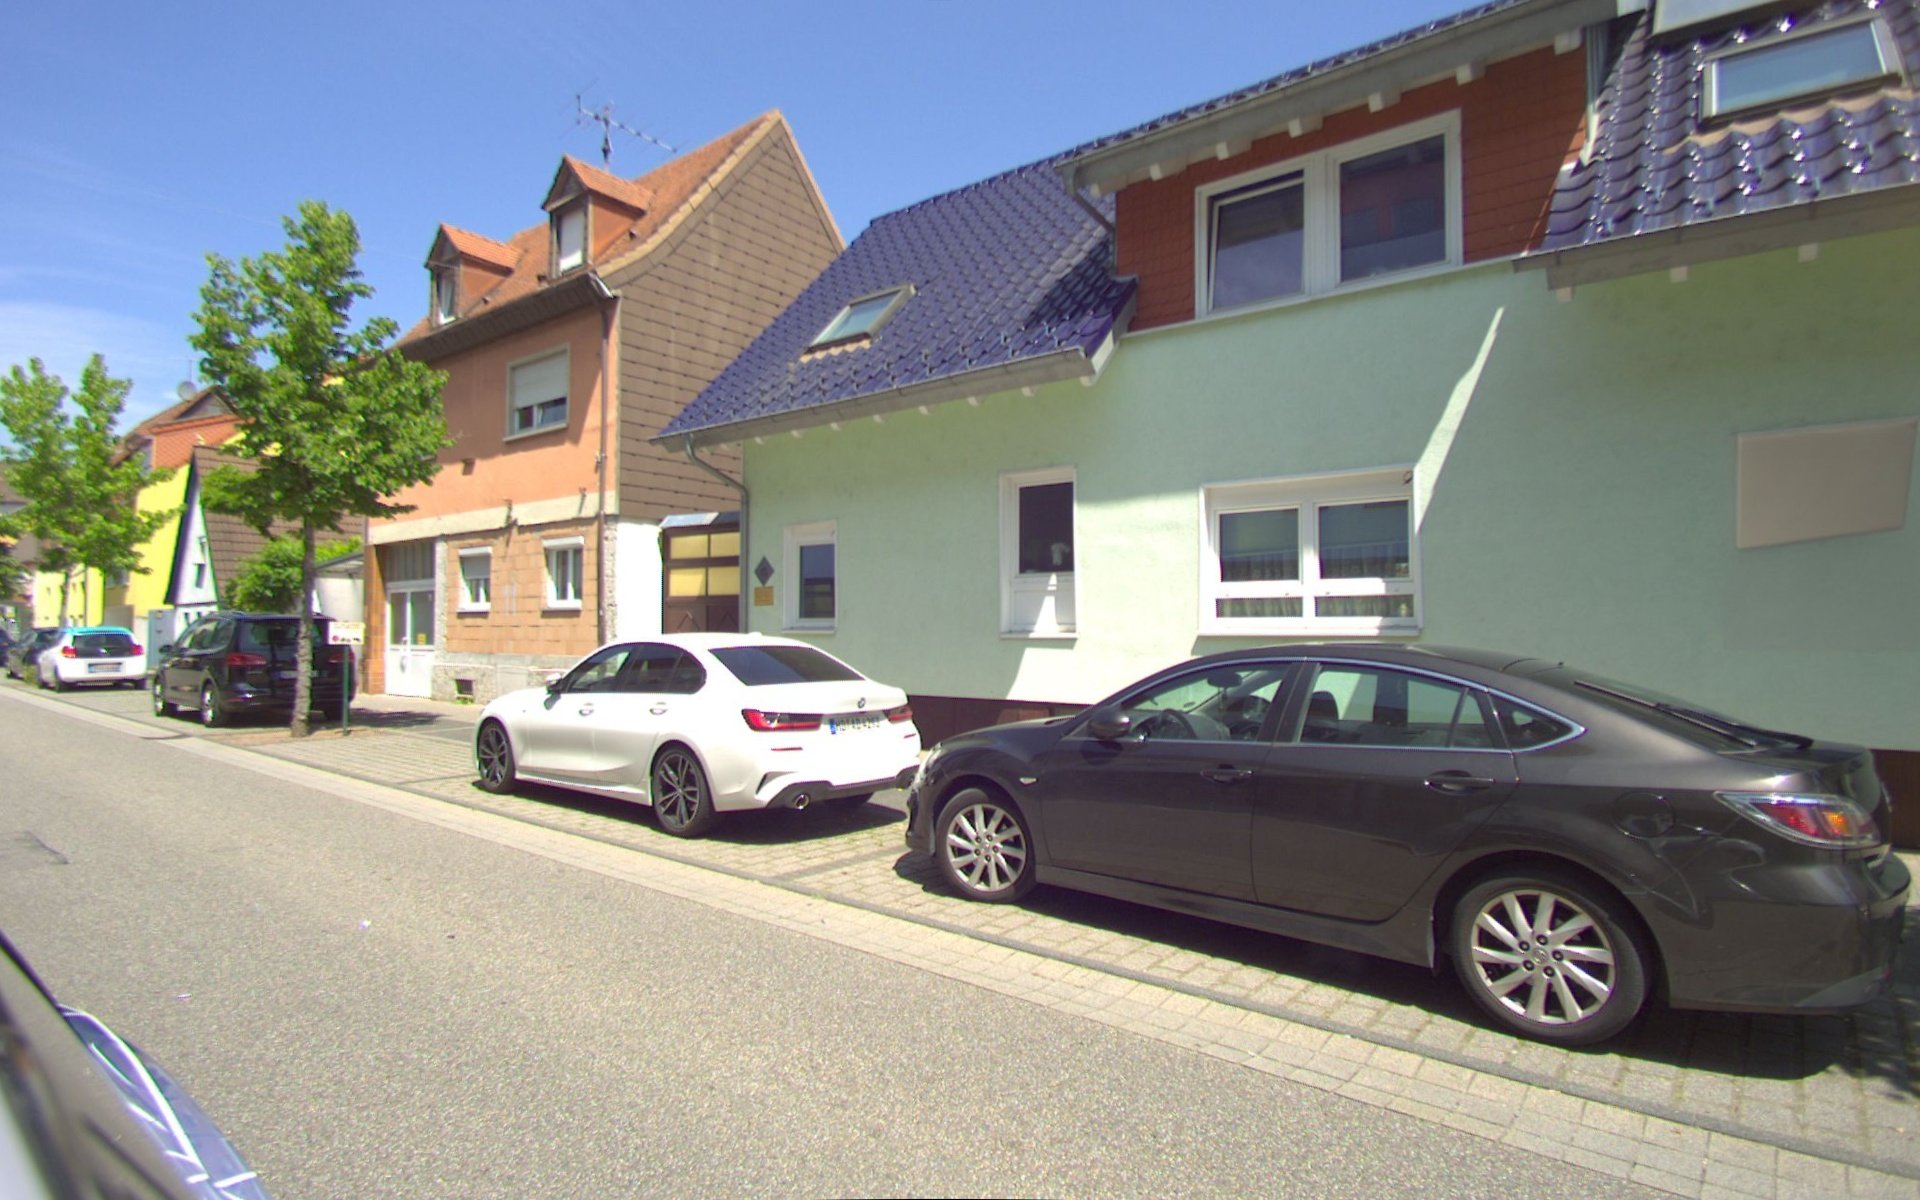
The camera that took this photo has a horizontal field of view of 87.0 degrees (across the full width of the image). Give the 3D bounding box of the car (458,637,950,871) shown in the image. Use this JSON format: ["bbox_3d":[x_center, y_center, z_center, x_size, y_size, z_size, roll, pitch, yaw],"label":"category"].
[{"bbox_3d":[-2.328,1.048,8.474,4.455,1.448,1.703,-2,-2,40],"label":"car"}]

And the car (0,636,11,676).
[{"bbox_3d":[-35.300,1.976,36.087,4.154,1.418,1.639,-2,-3,40],"label":"car"}]

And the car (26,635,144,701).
[{"bbox_3d":[-20.602,1.547,23.797,3.407,1.441,1.538,-2,-3,40],"label":"car"}]

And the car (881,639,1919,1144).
[{"bbox_3d":[1.752,0.927,5.029,4.538,1.448,1.642,-2,-3,43],"label":"car"}]

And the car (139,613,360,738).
[{"bbox_3d":[-11.541,1.141,16.329,4.515,1.739,1.757,-2,-3,40],"label":"car"}]

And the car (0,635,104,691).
[{"bbox_3d":[-25.204,1.702,27.968,4.095,1.441,1.628,-2,-4,40],"label":"car"}]
